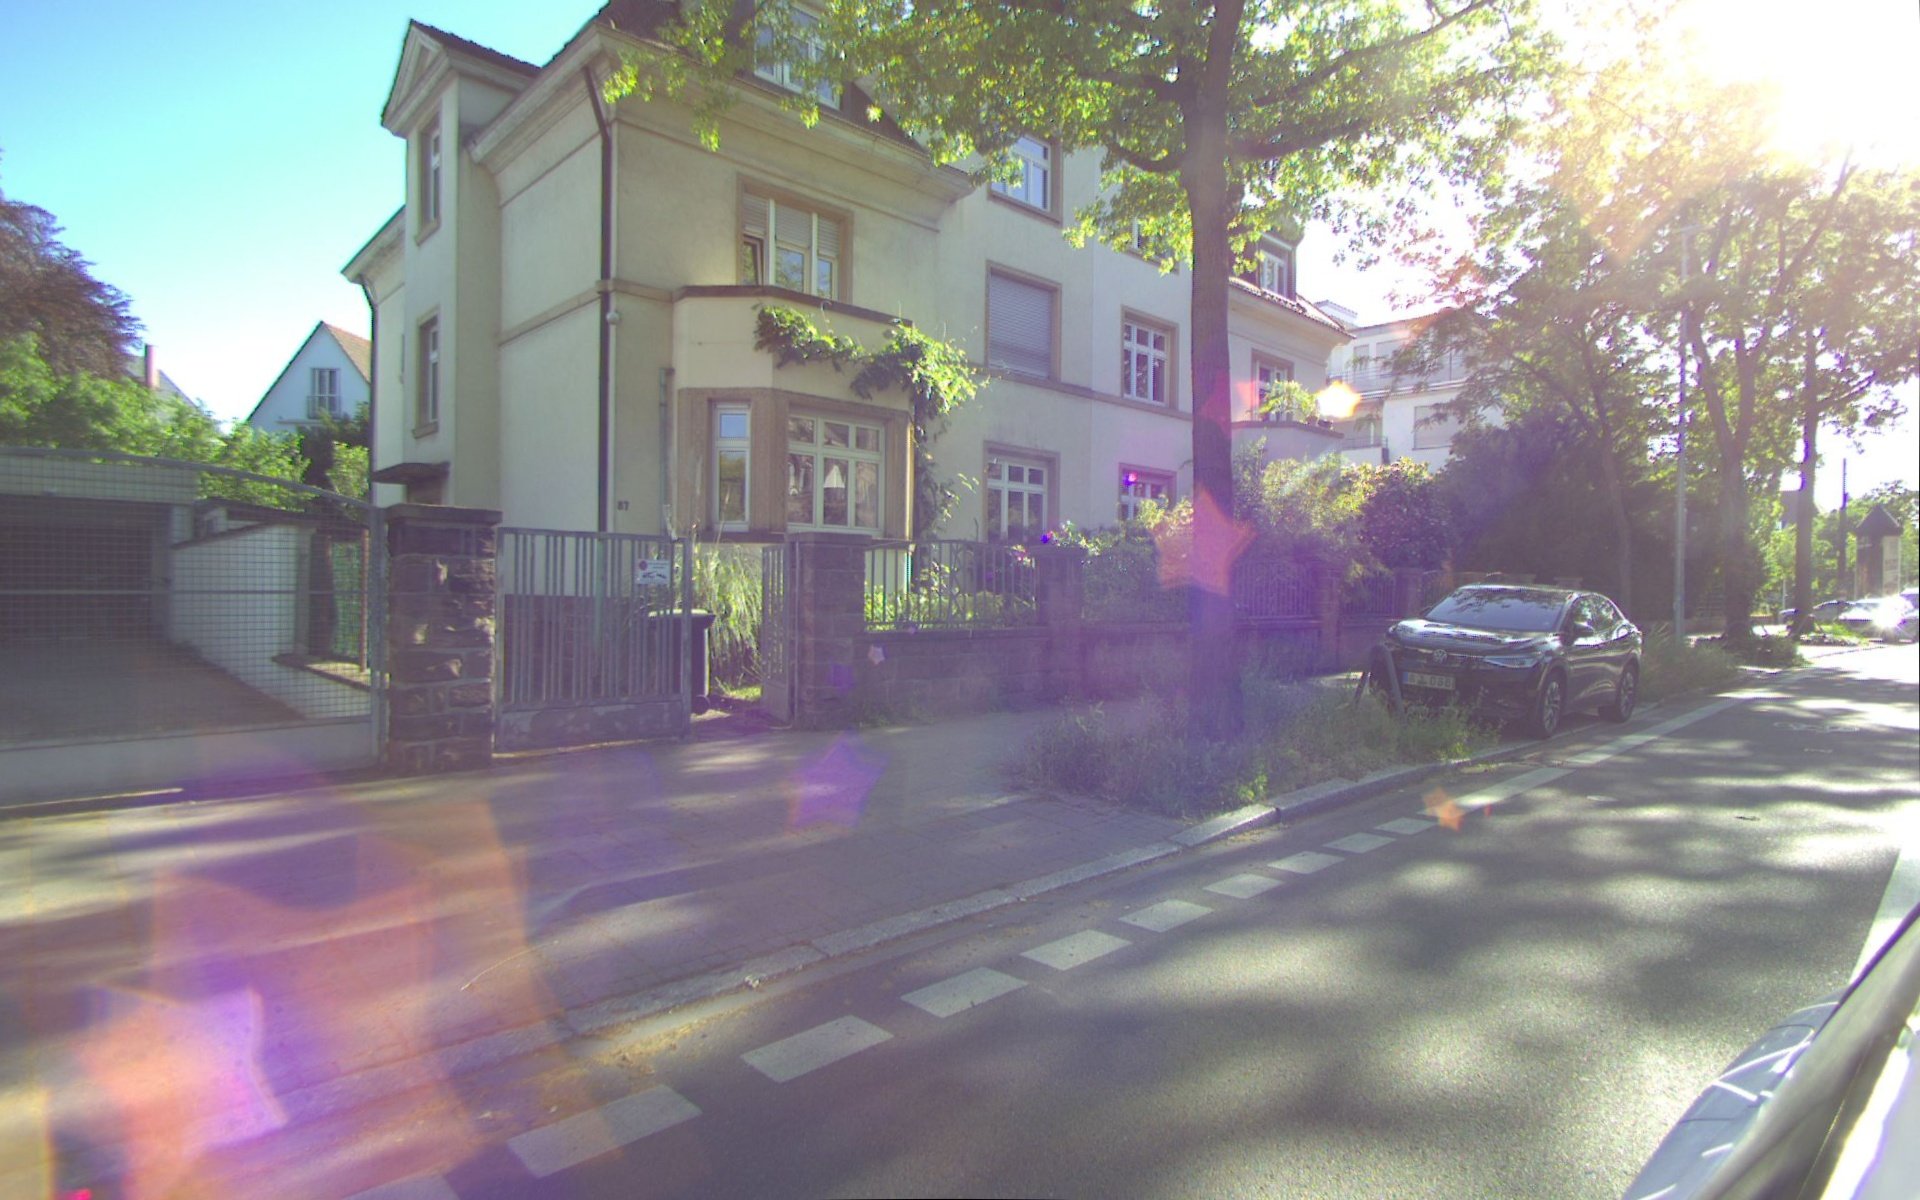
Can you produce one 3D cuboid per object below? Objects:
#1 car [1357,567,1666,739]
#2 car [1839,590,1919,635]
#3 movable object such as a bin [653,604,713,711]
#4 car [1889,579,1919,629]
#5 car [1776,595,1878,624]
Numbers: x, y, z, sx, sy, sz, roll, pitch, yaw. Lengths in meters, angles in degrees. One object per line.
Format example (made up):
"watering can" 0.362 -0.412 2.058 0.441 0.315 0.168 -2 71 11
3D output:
"car" 6.711 0.496 12.131 4.186 1.619 1.917 0 4 -42
"car" 31.515 0.384 34.266 4.181 1.427 1.901 0 1 -38
"movable object such as a bin" -2.922 0.584 10.666 0.551 1.062 0.676 0 0 -20
"car" 36.675 0.131 37.848 4.580 1.808 1.903 0 1 -35
"car" 46.071 0.461 53.831 1.784 1.459 3.990 0 1 -44
